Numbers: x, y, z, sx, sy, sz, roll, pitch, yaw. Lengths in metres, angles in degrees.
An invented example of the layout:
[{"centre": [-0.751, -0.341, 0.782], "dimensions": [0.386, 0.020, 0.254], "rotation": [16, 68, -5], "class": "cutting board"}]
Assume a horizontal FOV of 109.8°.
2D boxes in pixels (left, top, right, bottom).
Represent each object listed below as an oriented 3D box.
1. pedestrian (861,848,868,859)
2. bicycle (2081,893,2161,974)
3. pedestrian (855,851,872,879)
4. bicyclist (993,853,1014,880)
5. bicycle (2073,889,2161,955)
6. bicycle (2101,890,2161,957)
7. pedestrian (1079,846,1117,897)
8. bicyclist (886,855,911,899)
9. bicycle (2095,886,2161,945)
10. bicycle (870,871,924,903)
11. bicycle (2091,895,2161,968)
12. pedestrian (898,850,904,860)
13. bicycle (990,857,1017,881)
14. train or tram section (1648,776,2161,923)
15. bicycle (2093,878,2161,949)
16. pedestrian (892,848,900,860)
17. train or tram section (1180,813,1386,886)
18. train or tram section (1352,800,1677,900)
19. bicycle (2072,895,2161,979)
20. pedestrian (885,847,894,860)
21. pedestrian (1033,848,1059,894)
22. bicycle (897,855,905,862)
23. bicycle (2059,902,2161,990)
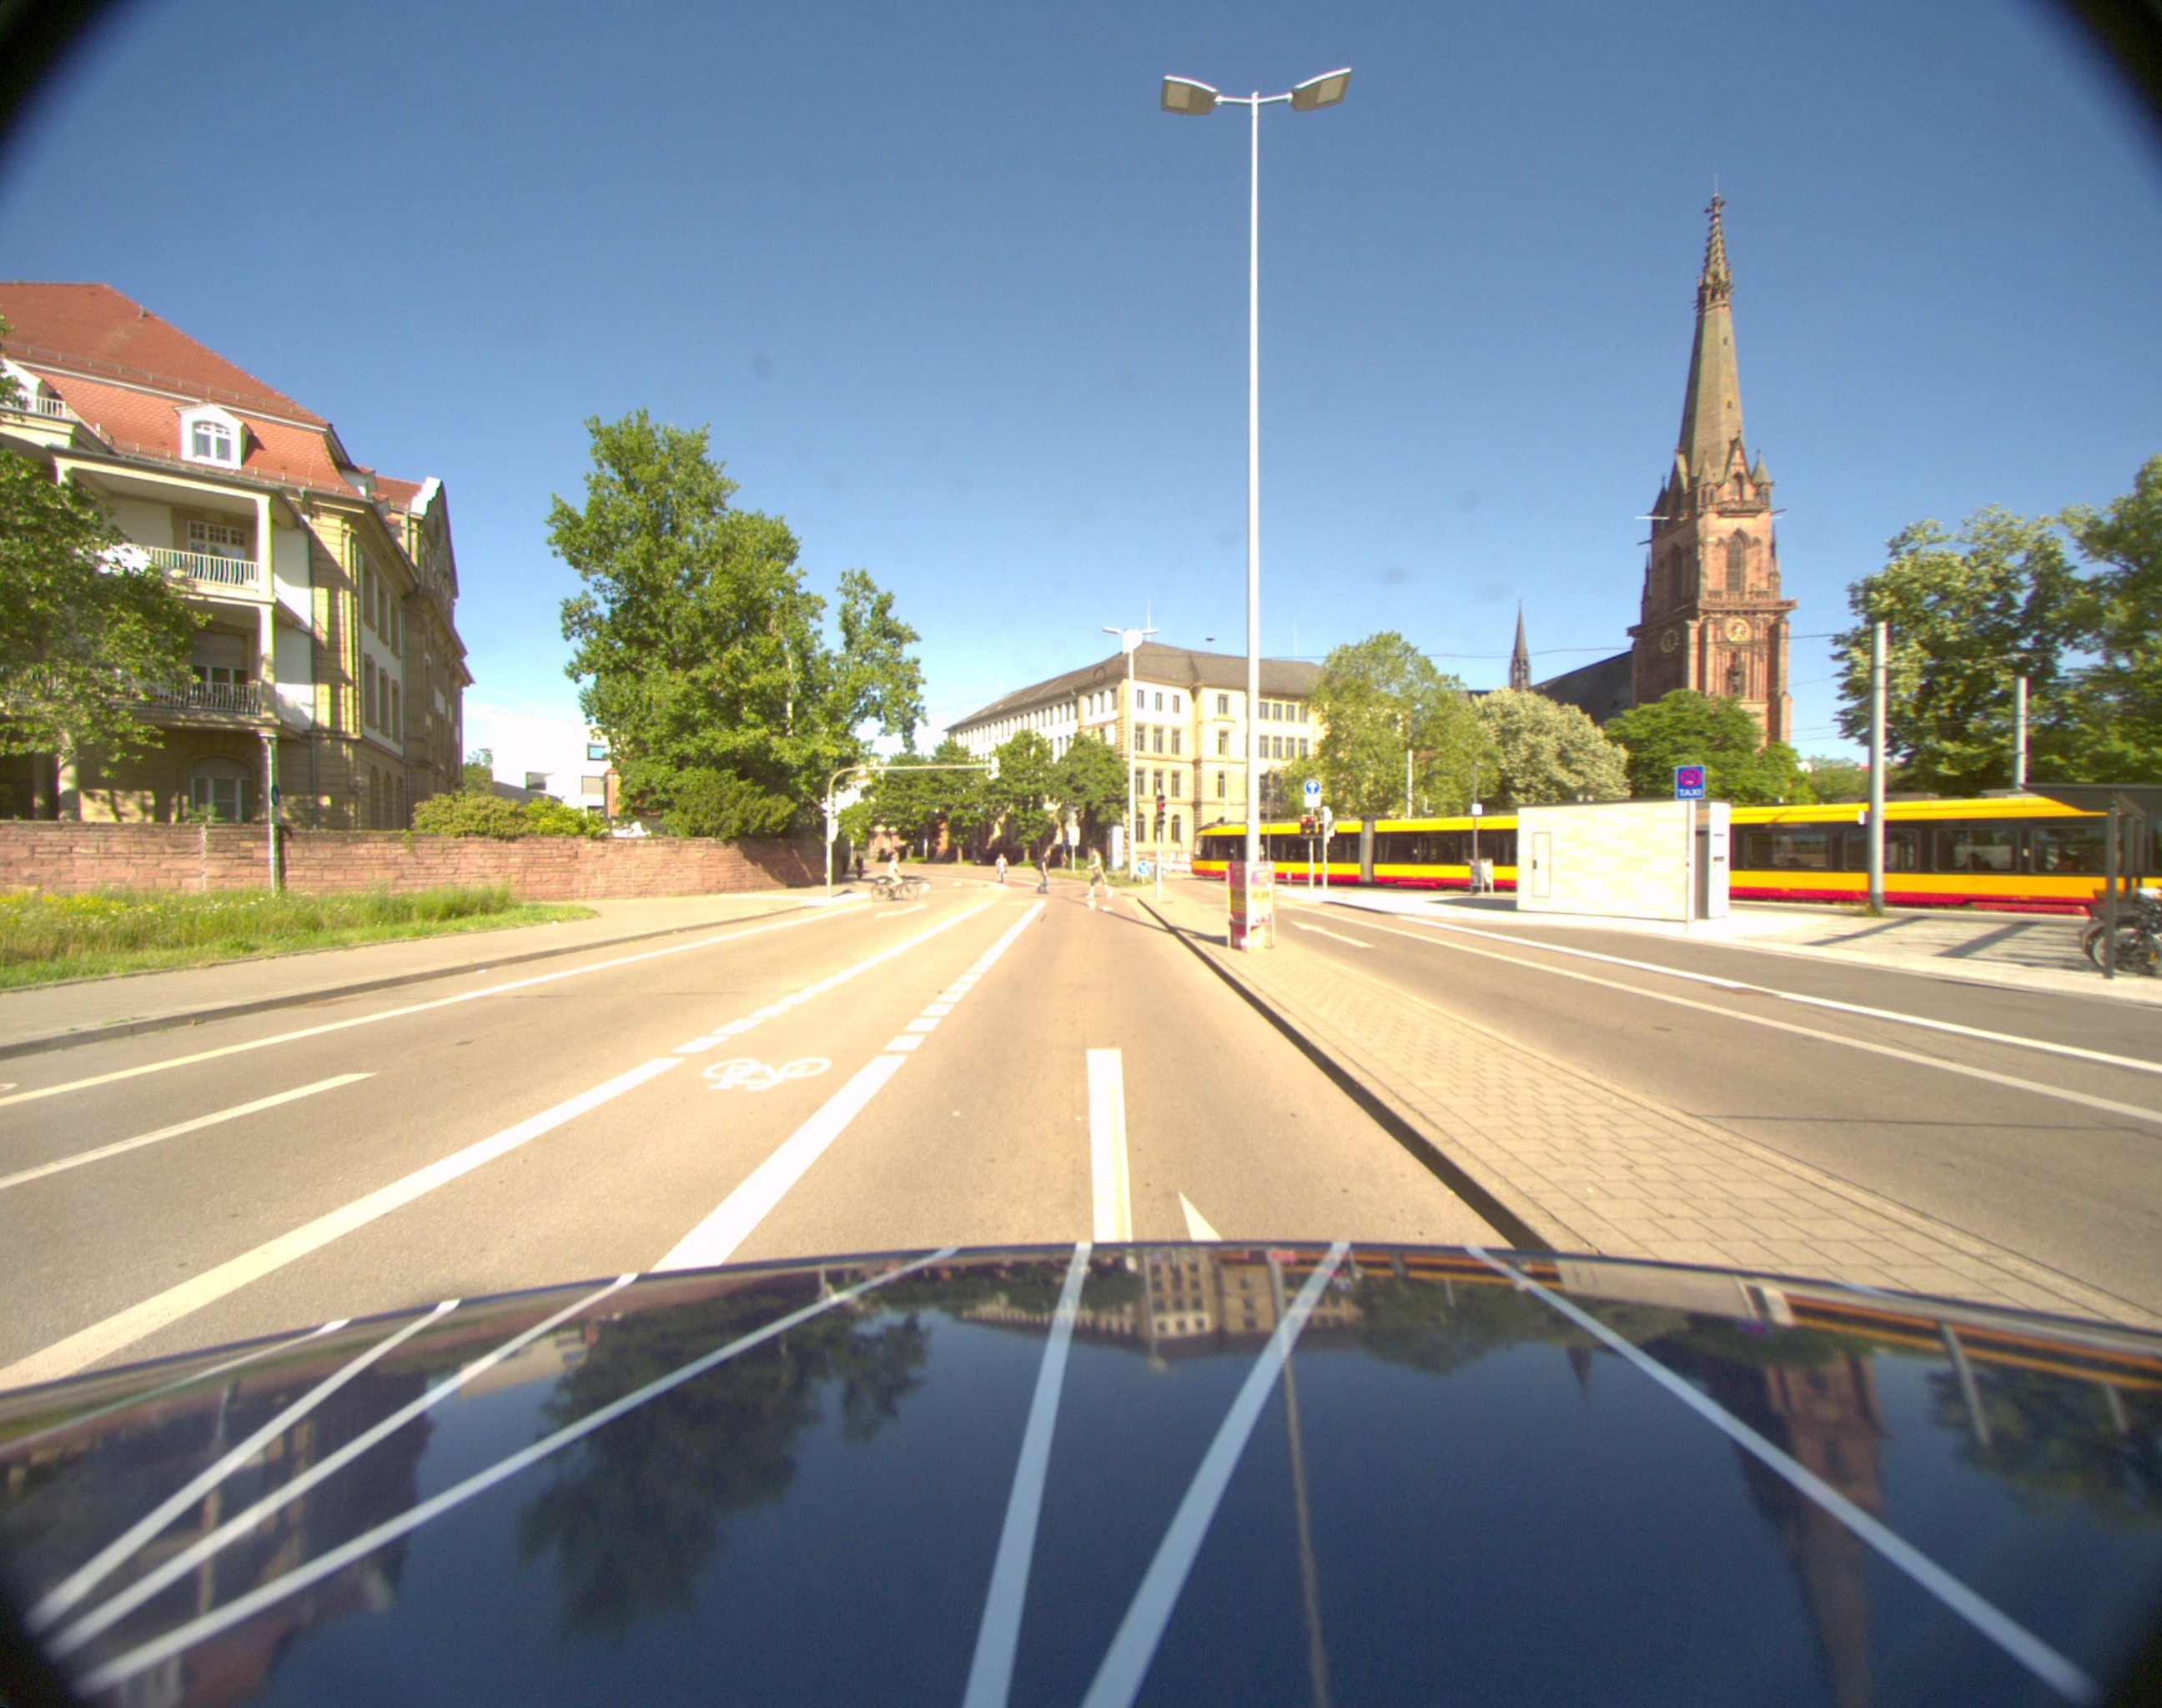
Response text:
[{"centre": [-35.385, -0.077, 124.417], "dimensions": [0.759, 1.802, 0.978], "rotation": [-1, 1, -38], "class": "pedestrian"}, {"centre": [15.146, 1.112, 10.324], "dimensions": [0.574, 1.045, 1.826], "rotation": [-1, 1, -32], "class": "bicycle"}, {"centre": [-13.498, 0.696, 47.151], "dimensions": [0.940, 1.711, 0.994], "rotation": [0, 1, -12], "class": "pedestrian"}, {"centre": [-4.587, 0.752, 45.019], "dimensions": [0.871, 1.551, 1.277], "rotation": [-1, 1, -26], "class": "bicyclist"}, {"centre": [17.818, 1.132, 12.457], "dimensions": [0.630, 1.002, 1.826], "rotation": [-1, 1, -32], "class": "bicycle"}, {"centre": [17.170, 1.095, 11.621], "dimensions": [0.630, 1.002, 1.826], "rotation": [-1, 1, -32], "class": "bicycle"}, {"centre": [0.609, 0.644, 28.228], "dimensions": [1.230, 1.845, 0.826], "rotation": [0, 1, -15], "class": "pedestrian"}, {"centre": [-6.818, 0.847, 28.431], "dimensions": [0.778, 1.596, 0.722], "rotation": [-1, 1, -7], "class": "bicyclist"}, {"centre": [19.530, 1.119, 13.454], "dimensions": [0.630, 1.002, 1.826], "rotation": [-1, 1, -32], "class": "bicycle"}, {"centre": [-6.863, 1.224, 28.427], "dimensions": [1.884, 1.064, 0.724], "rotation": [-2, 1, -7], "class": "bicycle"}, {"centre": [16.183, 1.157, 10.997], "dimensions": [0.630, 1.002, 1.826], "rotation": [-1, 1, -32], "class": "bicycle"}, {"centre": [-24.411, 0.115, 102.954], "dimensions": [0.597, 1.394, 0.644], "rotation": [-3, 2, -29], "class": "pedestrian"}, {"centre": [-4.608, 0.874, 45.046], "dimensions": [0.763, 1.360, 2.732], "rotation": [-1, 1, -25], "class": "bicycle"}, {"centre": [24.978, -0.141, 22.963], "dimensions": [2.838, 3.580, 12.294], "rotation": [-1, 1, -35], "class": "train or tram section"}, {"centre": [18.951, 1.043, 13.046], "dimensions": [0.630, 1.173, 1.826], "rotation": [-1, 1, -32], "class": "bicycle"}, {"centre": [-26.685, -0.033, 109.671], "dimensions": [0.759, 1.802, 0.977], "rotation": [-1, 1, -40], "class": "pedestrian"}, {"centre": [10.919, -0.249, 43.350], "dimensions": [2.806, 3.580, 12.504], "rotation": [-1, 1, -35], "class": "train or tram section"}, {"centre": [17.968, -0.196, 33.112], "dimensions": [2.806, 3.580, 12.294], "rotation": [-1, 1, -35], "class": "train or tram section"}, {"centre": [14.676, 1.126, 10.059], "dimensions": [0.630, 1.059, 1.826], "rotation": [-1, 1, -32], "class": "bicycle"}, {"centre": [-28.880, -0.045, 114.755], "dimensions": [0.978, 1.801, 0.759], "rotation": [-4, -3, 34], "class": "pedestrian"}, {"centre": [-1.423, 0.687, 31.381], "dimensions": [0.960, 1.839, 0.731], "rotation": [1, 1, 3], "class": "pedestrian"}, {"centre": [-24.435, 0.592, 103.061], "dimensions": [0.602, 1.000, 1.983], "rotation": [-3, 1, -28], "class": "bicycle"}, {"centre": [13.941, 1.202, 9.589], "dimensions": [0.702, 1.002, 1.863], "rotation": [-1, 2, -32], "class": "bicycle"}]
